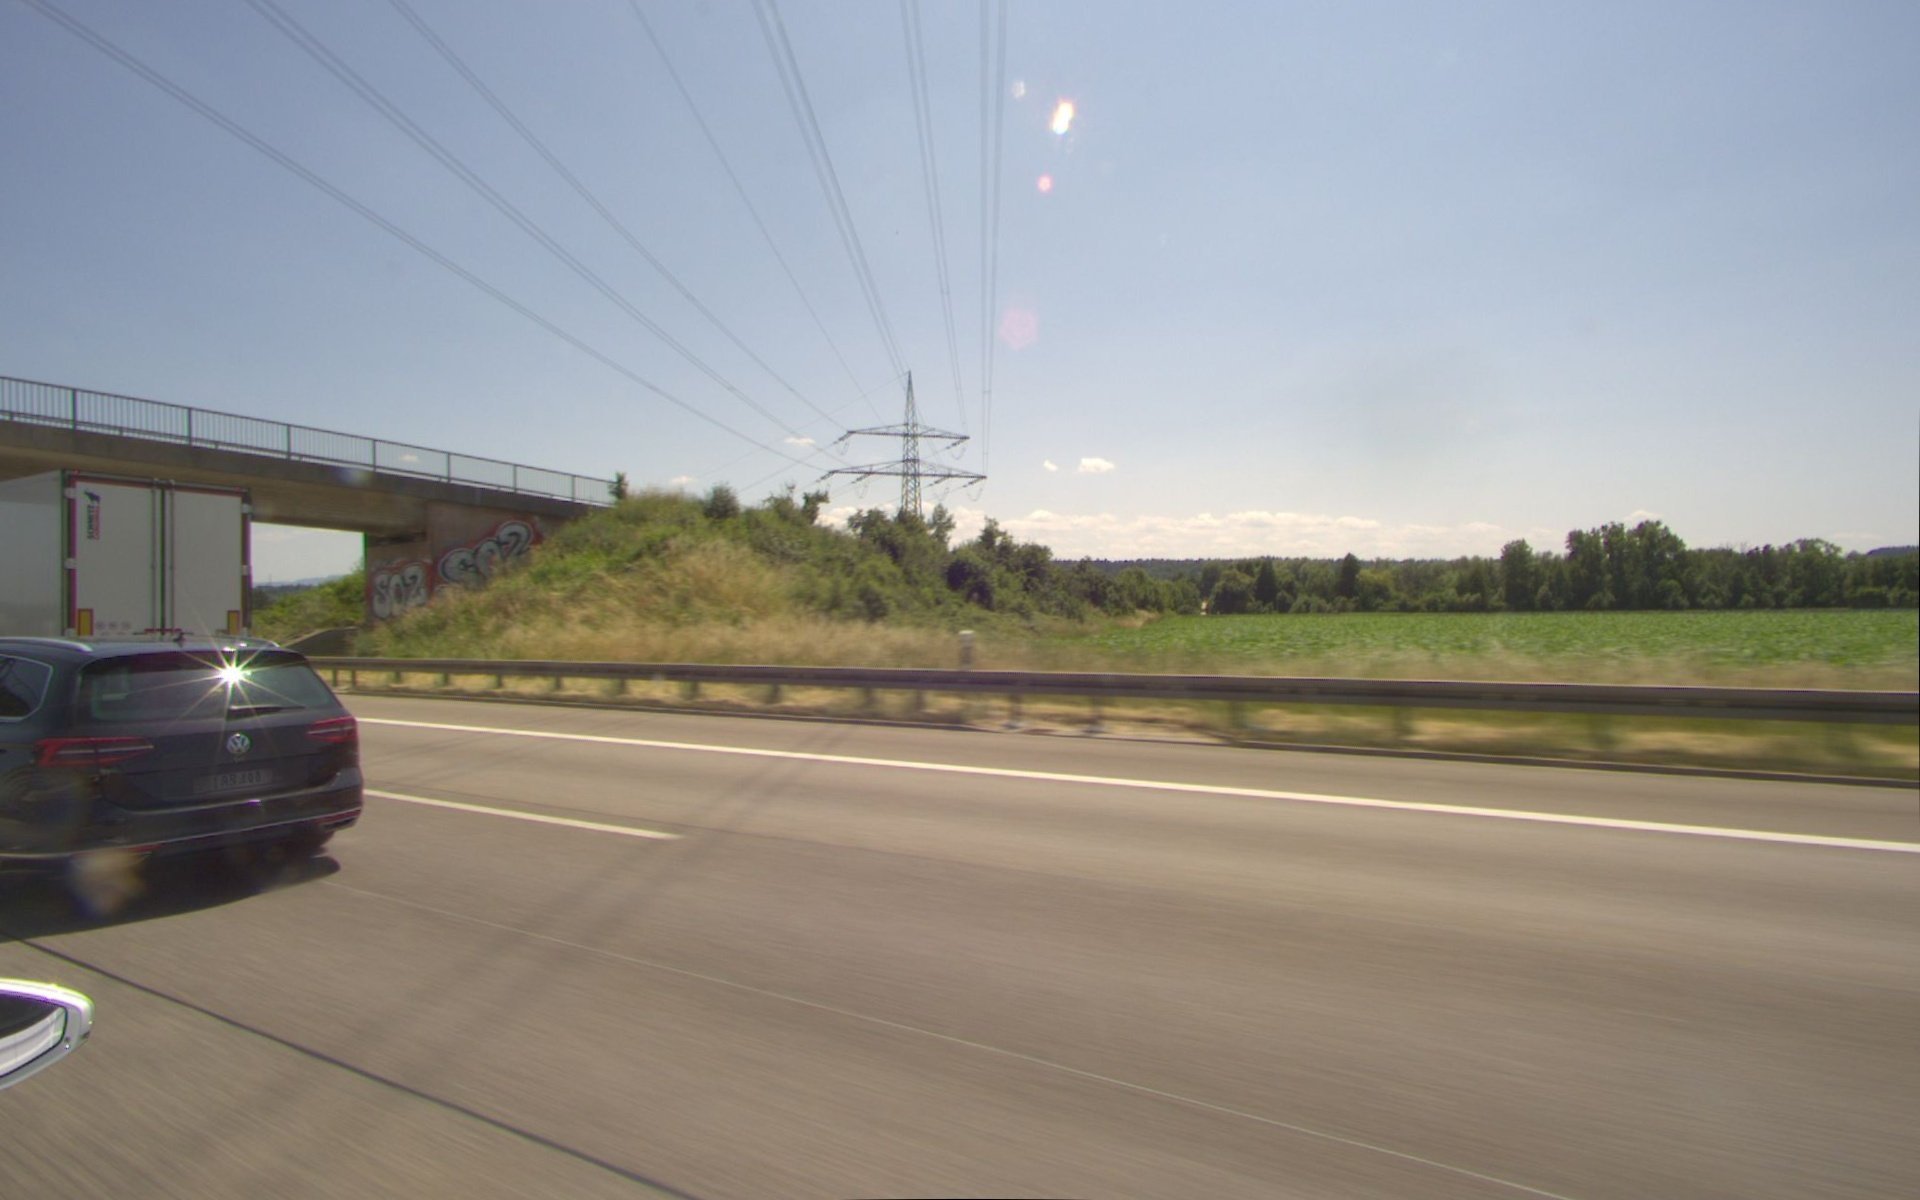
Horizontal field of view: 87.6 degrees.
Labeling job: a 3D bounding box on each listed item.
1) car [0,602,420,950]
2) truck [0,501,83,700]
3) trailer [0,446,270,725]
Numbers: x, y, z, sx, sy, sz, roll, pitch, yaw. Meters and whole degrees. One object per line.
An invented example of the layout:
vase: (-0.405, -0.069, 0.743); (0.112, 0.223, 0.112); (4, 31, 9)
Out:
car: (-5.936, 0.887, 6.720); (4.864, 1.594, 1.930); (-1, -2, 32)
truck: (-23.834, 0.086, 23.435); (7.578, 4.281, 2.974); (-1, -2, 33)
trailer: (-18.664, -0.037, 20.123); (13.404, 4.251, 2.938); (-1, -2, 33)
